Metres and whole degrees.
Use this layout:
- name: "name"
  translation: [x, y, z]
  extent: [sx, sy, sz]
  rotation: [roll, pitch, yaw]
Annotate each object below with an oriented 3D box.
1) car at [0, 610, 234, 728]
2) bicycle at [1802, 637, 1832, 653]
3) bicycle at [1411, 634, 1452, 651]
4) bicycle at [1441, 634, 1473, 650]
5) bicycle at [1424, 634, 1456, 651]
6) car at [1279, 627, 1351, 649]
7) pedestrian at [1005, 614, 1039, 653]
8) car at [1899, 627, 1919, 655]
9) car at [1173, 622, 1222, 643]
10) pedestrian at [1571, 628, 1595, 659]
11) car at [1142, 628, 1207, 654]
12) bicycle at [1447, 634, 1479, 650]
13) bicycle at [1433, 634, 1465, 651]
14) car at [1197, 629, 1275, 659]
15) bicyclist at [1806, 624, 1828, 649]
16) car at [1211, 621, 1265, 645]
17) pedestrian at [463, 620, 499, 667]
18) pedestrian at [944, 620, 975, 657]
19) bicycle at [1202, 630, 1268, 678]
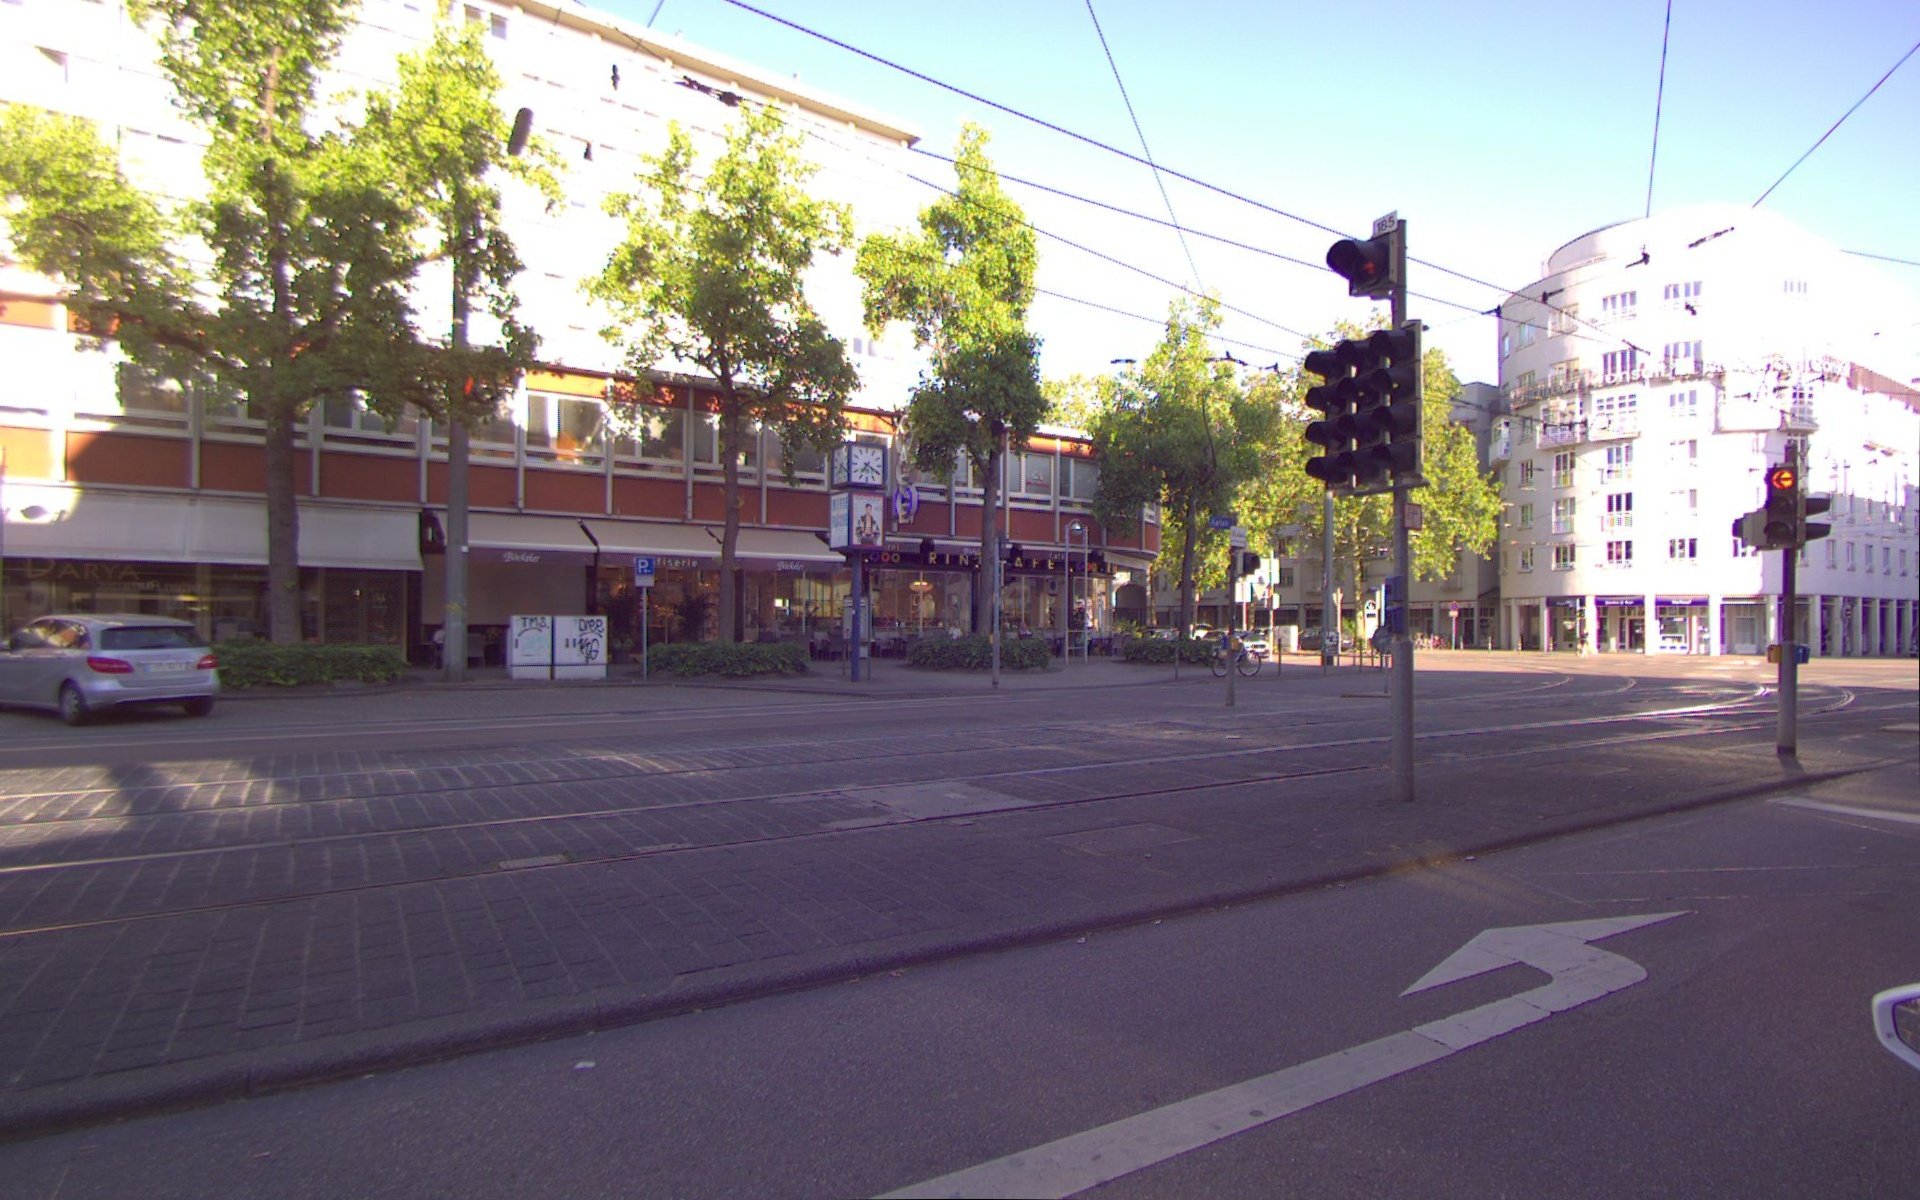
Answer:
- name: "car"
  translation: [-13.432, 0.985, 15.643]
  extent: [3.925, 1.574, 1.796]
  rotation: [1, 0, 26]
- name: "bicycle"
  translation: [52.535, 2.733, 61.577]
  extent: [2.240, 0.939, 0.836]
  rotation: [1, -1, -33]
- name: "bicycle"
  translation: [32.345, 2.928, 68.937]
  extent: [2.410, 1.122, 0.932]
  rotation: [-1, -2, 44]
- name: "bicycle"
  translation: [35.318, 2.990, 71.398]
  extent: [0.809, 1.122, 1.933]
  rotation: [1, -1, -30]
- name: "bicycle"
  translation: [33.499, 2.965, 70.169]
  extent: [0.808, 1.122, 1.934]
  rotation: [1, -1, -28]
- name: "car"
  translation: [23.596, 2.510, 66.886]
  extent: [1.867, 1.440, 4.423]
  rotation: [0, -2, -28]
- name: "pedestrian"
  translation: [2.246, 1.208, 36.576]
  extent: [0.880, 1.414, 0.929]
  rotation: [1, -1, -31]
- name: "car"
  translation: [58.739, 2.452, 60.710]
  extent: [4.463, 1.641, 1.982]
  rotation: [1, -2, -34]
- name: "car"
  translation: [19.766, 2.694, 83.486]
  extent: [3.960, 1.738, 1.783]
  rotation: [2, -2, -35]
- name: "pedestrian"
  translation: [34.980, 2.436, 56.372]
  extent: [0.687, 1.704, 0.866]
  rotation: [-1, -1, -24]
- name: "car"
  translation: [12.371, 2.386, 58.149]
  extent: [1.860, 1.440, 4.442]
  rotation: [1, -2, -16]
- name: "bicycle"
  translation: [35.997, 3.001, 71.931]
  extent: [0.809, 1.122, 1.933]
  rotation: [1, -1, -30]
- name: "bicycle"
  translation: [34.357, 2.975, 70.637]
  extent: [0.808, 1.122, 1.934]
  rotation: [1, -1, -28]
- name: "car"
  translation: [14.010, 2.226, 51.244]
  extent: [1.860, 1.440, 4.442]
  rotation: [1, -2, -16]
- name: "bicyclist"
  translation: [52.547, 2.223, 61.592]
  extent: [0.887, 1.486, 0.836]
  rotation: [1, -1, -33]
- name: "car"
  translation: [20.947, 2.470, 75.671]
  extent: [3.960, 1.738, 1.783]
  rotation: [2, -2, -35]
- name: "pedestrian"
  translation: [-12.591, 1.134, 26.407]
  extent: [0.721, 1.187, 0.771]
  rotation: [1, -1, -36]
- name: "pedestrian"
  translation: [-0.019, 1.330, 34.794]
  extent: [0.893, 1.280, 0.837]
  rotation: [1, -1, -17]
- name: "bicycle"
  translation: [7.545, 1.460, 27.509]
  extent: [1.833, 1.251, 0.578]
  rotation: [1, 0, -28]
